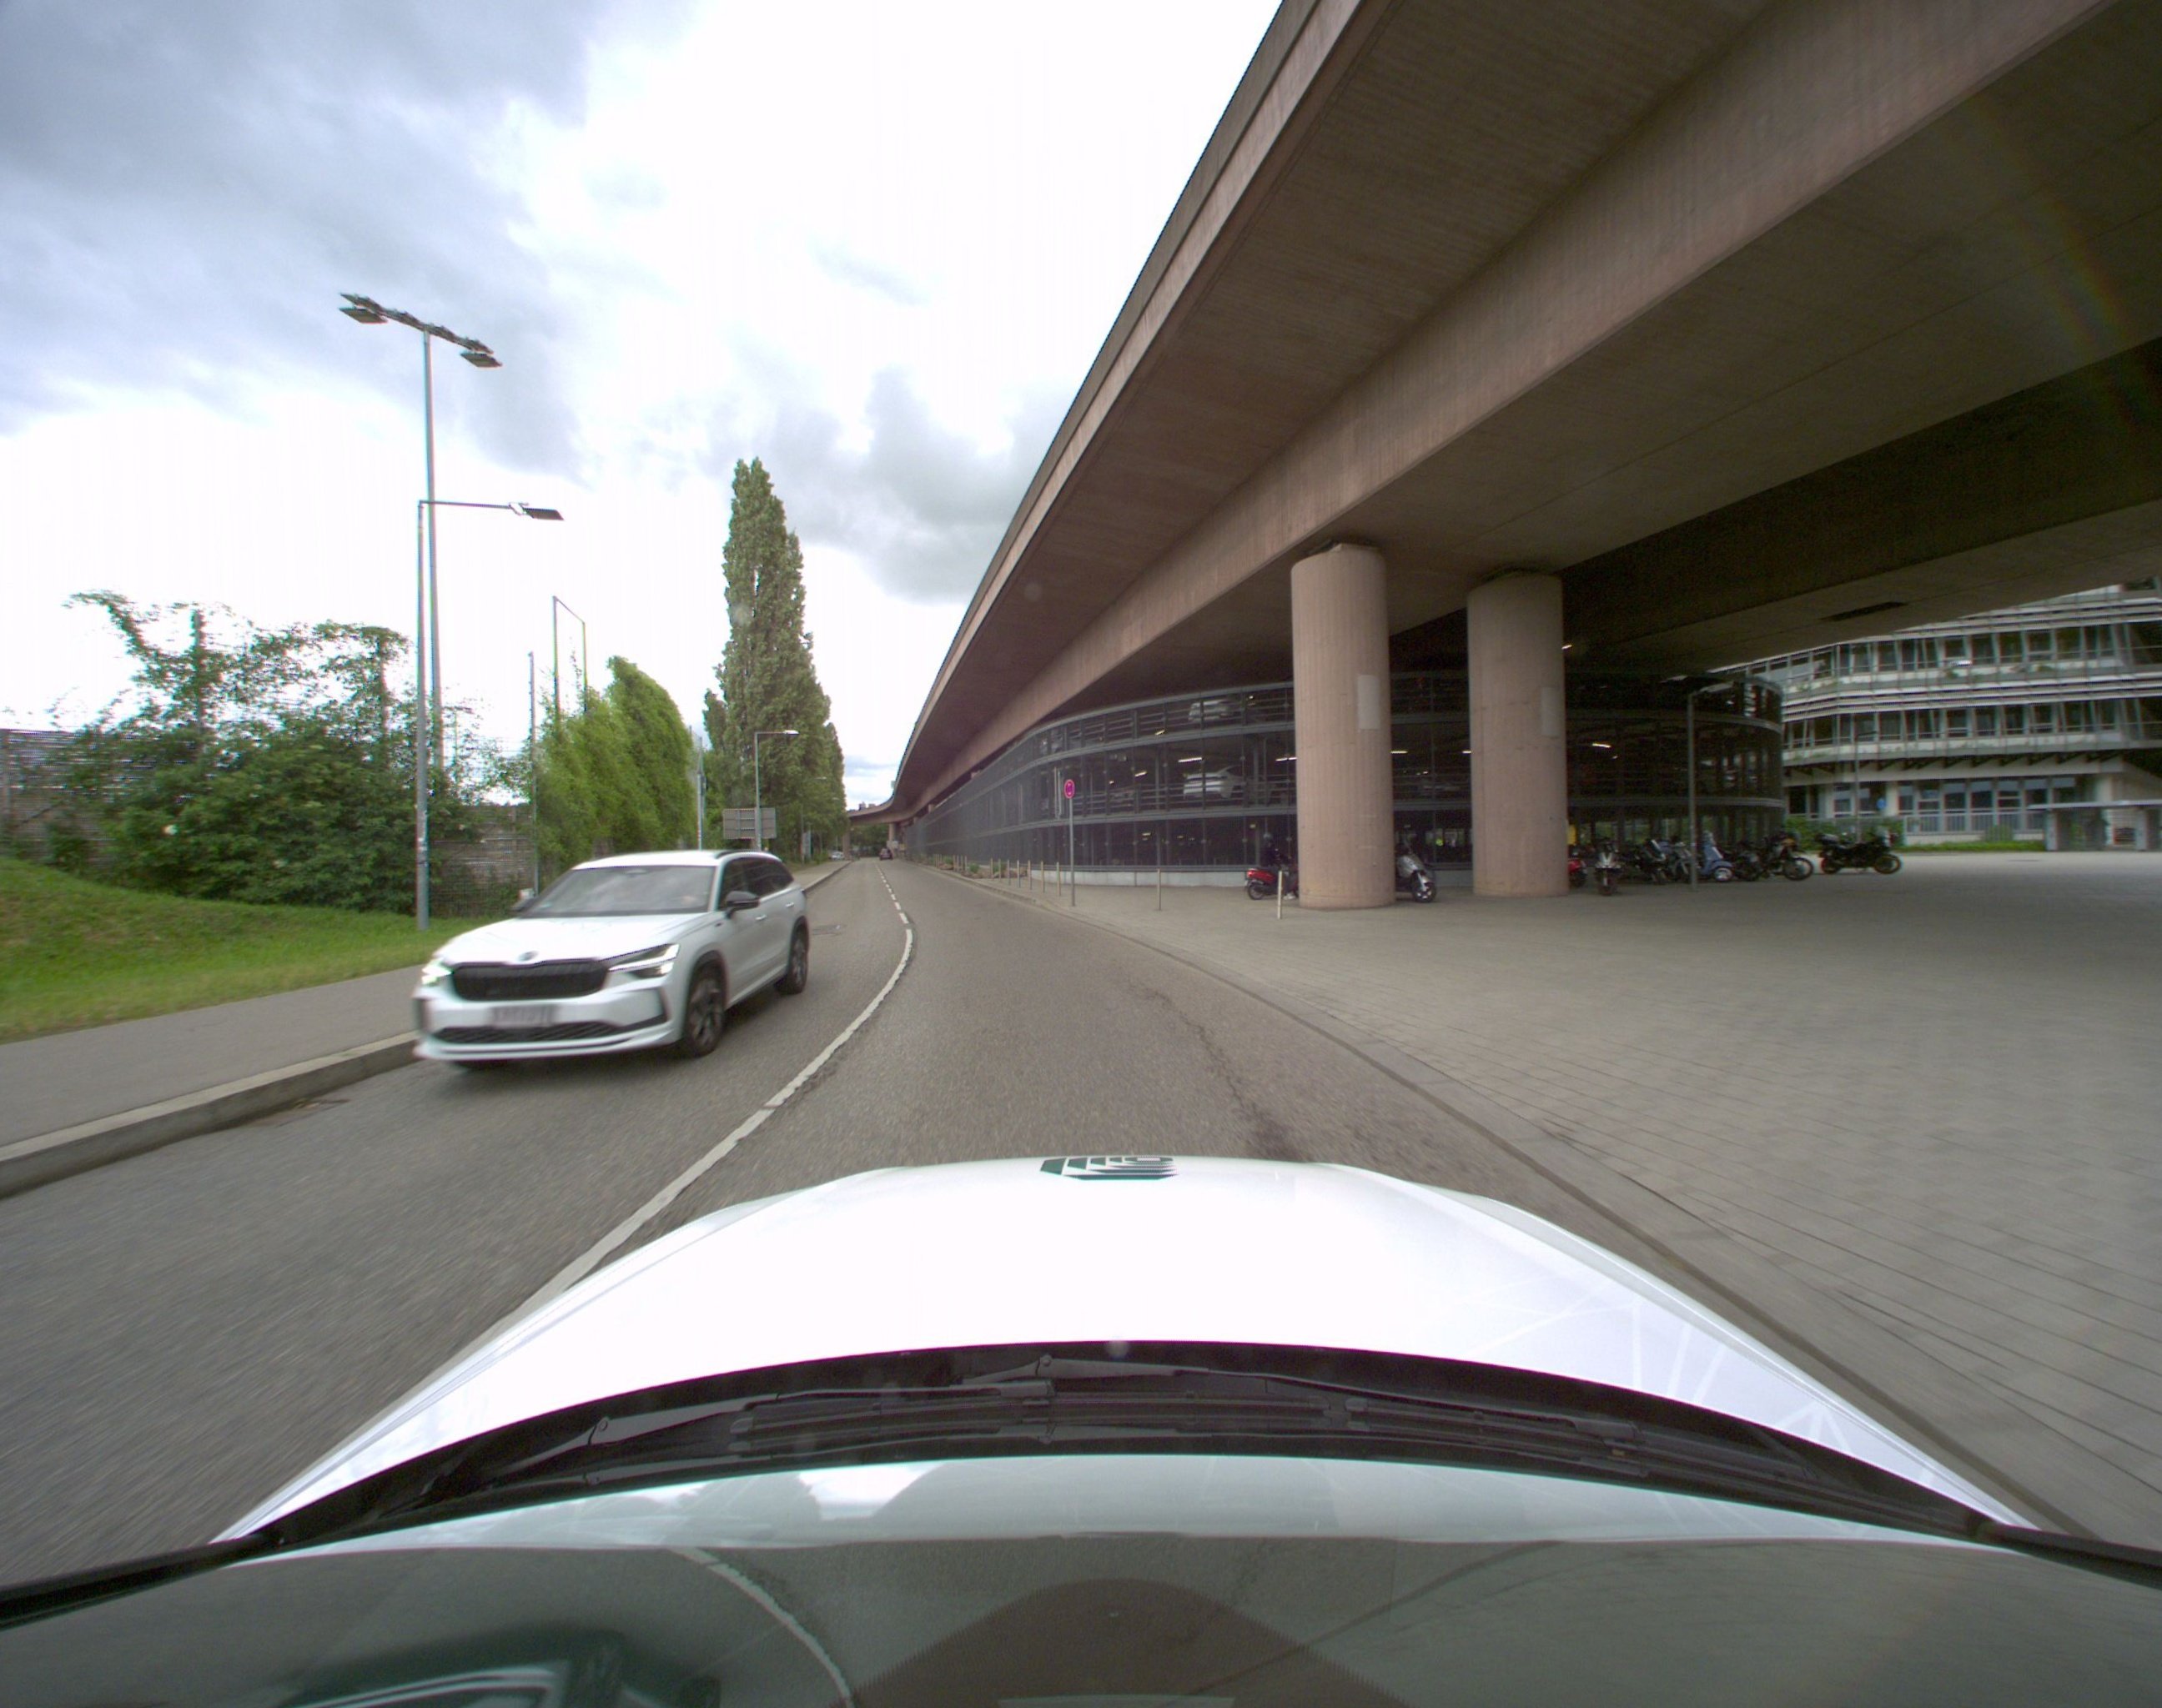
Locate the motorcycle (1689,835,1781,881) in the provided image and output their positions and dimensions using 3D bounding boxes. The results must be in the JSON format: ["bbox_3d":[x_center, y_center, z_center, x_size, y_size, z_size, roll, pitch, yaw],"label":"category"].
[{"bbox_3d":[18.513,0.085,23.118,0.673,1.220,2.069,-2,2,-14],"label":"motorcycle"}]

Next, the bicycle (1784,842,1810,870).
[{"bbox_3d":[25.016,0.067,28.448,1.513,0.895,0.470,-3,2,-41],"label":"bicycle"}]

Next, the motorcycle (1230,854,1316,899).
[{"bbox_3d":[4.751,0.547,20.212,1.948,1.022,0.747,-2,2,-7],"label":"motorcycle"}]

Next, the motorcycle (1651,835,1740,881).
[{"bbox_3d":[17.317,0.079,23.009,0.673,1.220,2.069,-2,2,-14],"label":"motorcycle"}]

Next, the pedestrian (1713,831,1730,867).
[{"bbox_3d":[36.437,-0.295,46.327,0.526,2.013,0.573,-1,0,-5],"label":"pedestrian"}]

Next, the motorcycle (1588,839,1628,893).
[{"bbox_3d":[11.768,0.260,18.195,0.516,1.171,1.156,-1,-1,21],"label":"motorcycle"}]

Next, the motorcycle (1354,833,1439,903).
[{"bbox_3d":[7.015,0.279,18.178,0.646,1.454,1.745,-2,2,-31],"label":"motorcycle"}]

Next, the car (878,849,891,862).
[{"bbox_3d":[-29.781,0.232,123.479,1.843,1.711,3.687,-2,2,-15],"label":"car"}]

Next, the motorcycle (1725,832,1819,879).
[{"bbox_3d":[19.784,0.008,23.369,0.673,1.285,2.069,-2,2,-14],"label":"motorcycle"}]

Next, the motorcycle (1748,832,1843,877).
[{"bbox_3d":[20.609,-0.016,23.549,0.673,1.220,2.069,-2,2,-14],"label":"motorcycle"}]

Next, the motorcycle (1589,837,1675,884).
[{"bbox_3d":[15.287,0.142,22.679,0.673,1.220,2.069,-2,2,-14],"label":"motorcycle"}]

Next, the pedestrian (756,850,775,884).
[{"bbox_3d":[-16.956,0.676,43.755,0.806,1.780,0.915,-2,2,-17],"label":"pedestrian"}]

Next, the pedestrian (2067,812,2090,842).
[{"bbox_3d":[50.104,-1.367,40.900,0.541,1.481,0.497,-1,2,2],"label":"pedestrian"}]

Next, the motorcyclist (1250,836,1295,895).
[{"bbox_3d":[4.746,0.270,20.218,0.866,1.419,0.762,-2,2,-7],"label":"motorcyclist"}]

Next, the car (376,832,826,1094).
[{"bbox_3d":[-3.918,0.673,7.731,1.861,1.683,4.399,-2,2,-4],"label":"car"}]

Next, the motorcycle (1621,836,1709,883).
[{"bbox_3d":[16.274,0.114,22.763,0.673,1.220,2.069,-2,2,-14],"label":"motorcycle"}]

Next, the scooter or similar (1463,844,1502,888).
[{"bbox_3d":[11.077,0.313,22.484,0.398,1.133,1.249,-2,2,-4],"label":"scooter or similar"}]

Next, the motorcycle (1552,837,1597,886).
[{"bbox_3d":[12.916,0.190,21.324,0.518,1.220,1.151,-1,2,3],"label":"motorcycle"}]

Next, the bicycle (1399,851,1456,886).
[{"bbox_3d":[10.132,0.415,23.847,1.463,0.976,0.453,-1,2,10],"label":"bicycle"}]

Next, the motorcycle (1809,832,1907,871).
[{"bbox_3d":[25.666,-0.118,26.972,0.673,1.220,2.352,-2,2,-14],"label":"motorcycle"}]

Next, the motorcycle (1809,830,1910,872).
[{"bbox_3d":[24.764,-0.122,25.986,0.673,1.275,2.352,-2,2,-14],"label":"motorcycle"}]
